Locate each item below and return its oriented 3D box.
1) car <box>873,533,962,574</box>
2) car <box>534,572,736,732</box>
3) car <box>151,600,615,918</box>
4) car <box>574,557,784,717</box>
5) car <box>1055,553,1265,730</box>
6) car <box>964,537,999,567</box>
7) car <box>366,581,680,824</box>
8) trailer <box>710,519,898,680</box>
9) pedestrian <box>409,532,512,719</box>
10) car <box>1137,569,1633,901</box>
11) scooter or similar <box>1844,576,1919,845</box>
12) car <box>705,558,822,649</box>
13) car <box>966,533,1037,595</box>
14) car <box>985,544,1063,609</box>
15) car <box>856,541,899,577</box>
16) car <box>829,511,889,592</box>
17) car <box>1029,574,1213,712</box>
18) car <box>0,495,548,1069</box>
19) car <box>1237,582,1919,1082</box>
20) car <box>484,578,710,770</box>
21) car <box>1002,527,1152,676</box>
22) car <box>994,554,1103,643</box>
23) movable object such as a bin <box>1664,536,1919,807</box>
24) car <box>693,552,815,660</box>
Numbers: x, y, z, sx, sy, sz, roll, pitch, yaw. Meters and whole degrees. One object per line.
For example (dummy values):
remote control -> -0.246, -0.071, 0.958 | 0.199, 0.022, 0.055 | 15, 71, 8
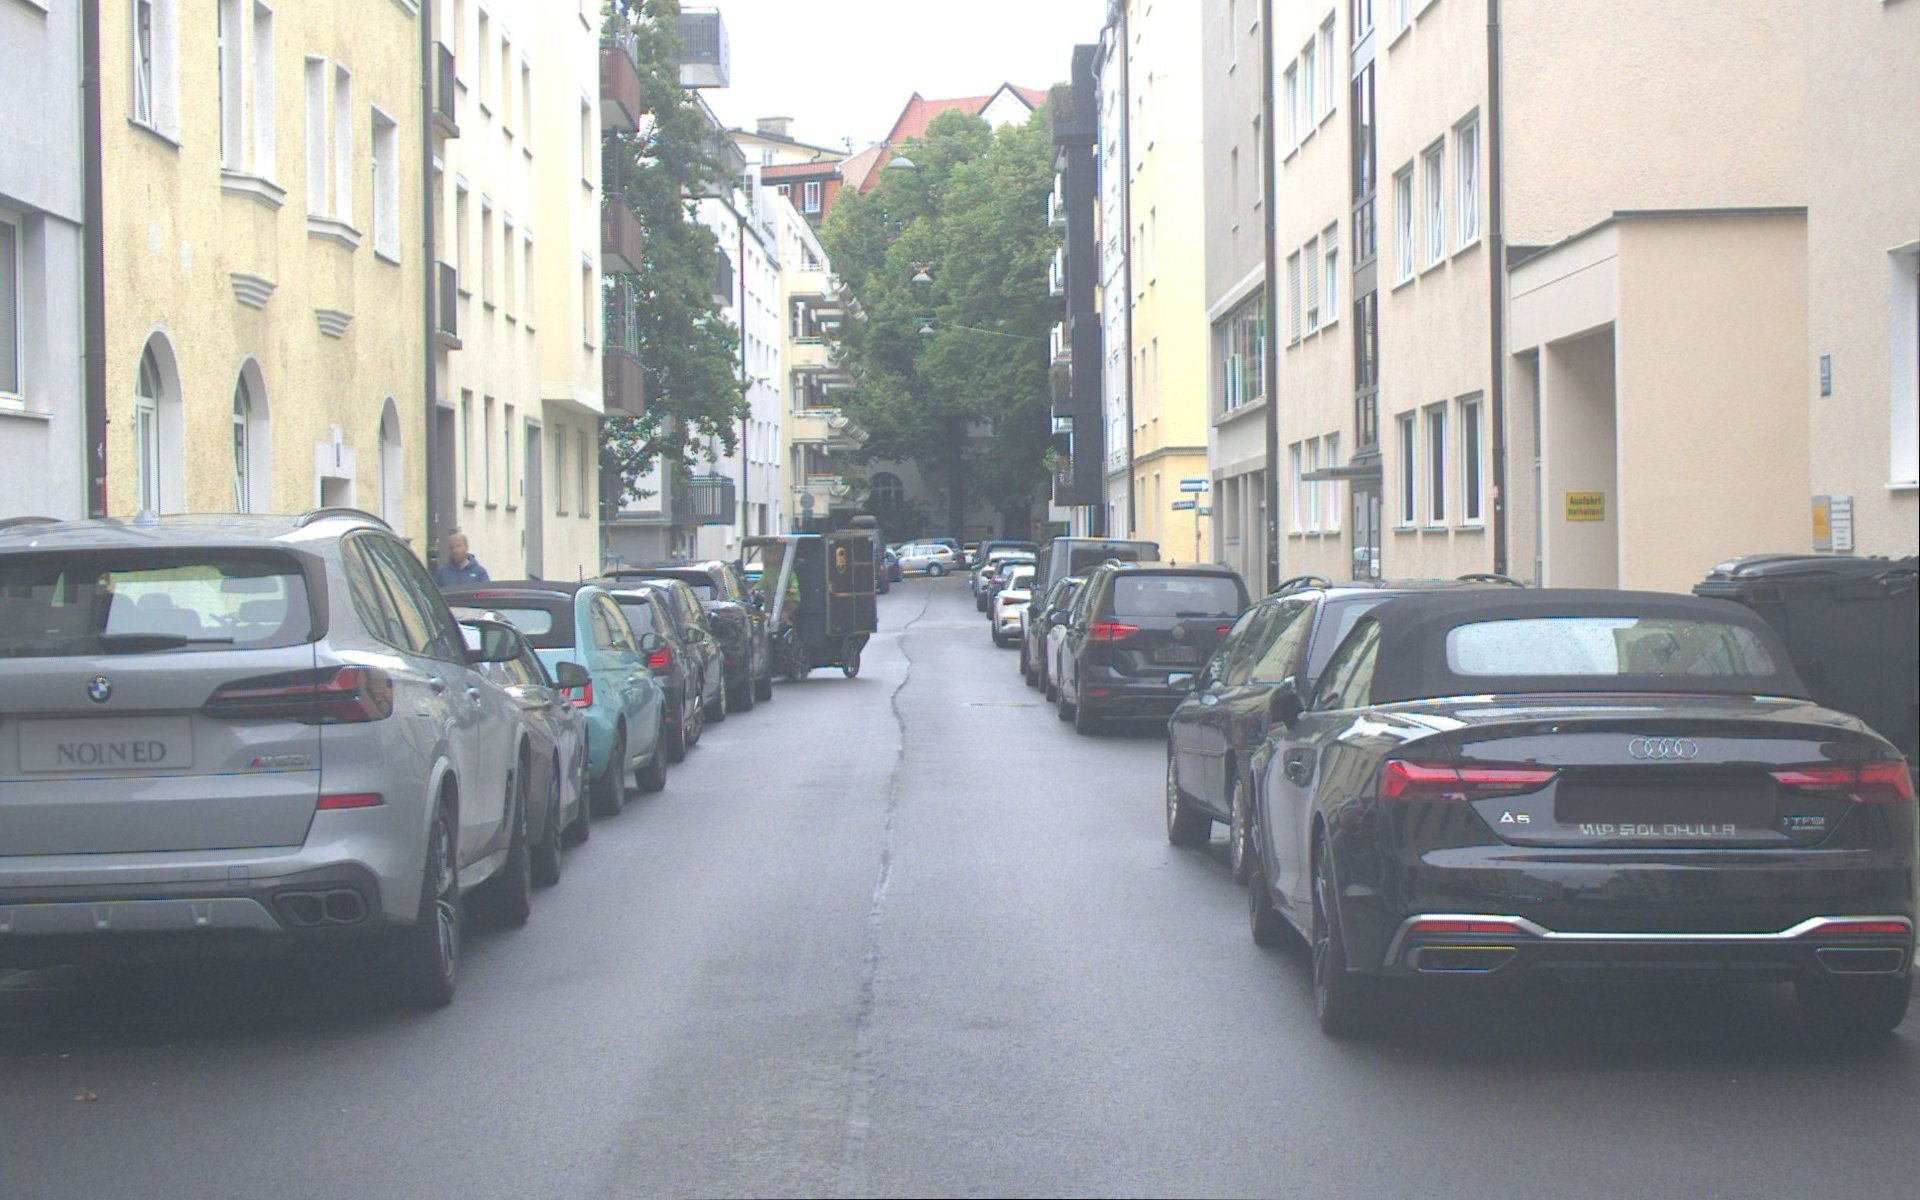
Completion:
car -> -1.925, -2.079, 153.964 | 3.885, 1.579, 1.648 | -3, 1, -1
car -> -3.159, 0.472, 33.920 | 1.563, 1.455, 3.475 | -1, 1, 1
car -> -2.919, 0.745, 18.269 | 1.811, 1.381, 4.251 | -3, 0, -2
car -> -3.097, 0.372, 38.747 | 1.879, 1.654, 4.414 | -1, 1, 1
car -> 1.885, 0.364, 33.583 | 1.711, 1.602, 4.244 | 1, 0, -1
car -> 1.063, -2.421, 171.143 | 1.642, 1.379, 3.746 | -3, 1, -1
car -> -2.855, 0.627, 23.060 | 1.563, 1.455, 3.404 | -1, 1, 1
trailer -> -2.111, -0.010, 47.218 | 1.356, 2.108, 3.314 | -1, 0, 20
pedestrian -> -4.776, 0.232, 32.917 | 0.839, 1.758, 1.068 | 0, 1, -1
car -> 2.010, 0.588, 17.572 | 1.716, 1.466, 4.532 | 1, 0, -3
scooter or similar -> 4.807, 0.519, 16.886 | 0.576, 1.262, 1.136 | -2, 0, -1
car -> -3.505, 0.030, 61.947 | 1.766, 1.478, 4.424 | -1, 1, 1
car -> 1.114, -0.996, 93.684 | 1.682, 1.562, 4.416 | 2, 1, -2
car -> 1.537, -0.590, 83.900 | 1.751, 1.464, 4.343 | 2, 1, -1
car -> -3.444, -1.727, 143.952 | 1.642, 1.379, 3.483 | -3, 1, -1
car -> -3.659, -1.772, 125.366 | 1.936, 2.792, 4.533 | -3, 1, -1
car -> 1.789, 0.455, 39.417 | 1.711, 1.481, 4.245 | 1, 0, -2
car -> -2.764, 0.572, 13.291 | 1.862, 1.764, 4.736 | -3, 0, -2
car -> 2.025, 0.650, 12.013 | 1.833, 1.401, 4.411 | 1, 0, 1
car -> -2.979, 0.567, 28.803 | 1.563, 1.455, 3.764 | -1, 1, -2
car -> 1.617, -0.028, 48.975 | 1.750, 1.968, 4.343 | 2, 1, -3
car -> 1.612, -0.053, 63.672 | 1.819, 1.403, 3.953 | 0, 3, -1
movable object such as a bin -> 4.675, 0.383, 19.335 | 1.032, 1.418, 1.587 | -3, 0, -1
car -> -3.340, 0.072, 56.385 | 1.766, 1.669, 4.368 | -1, 1, -1
